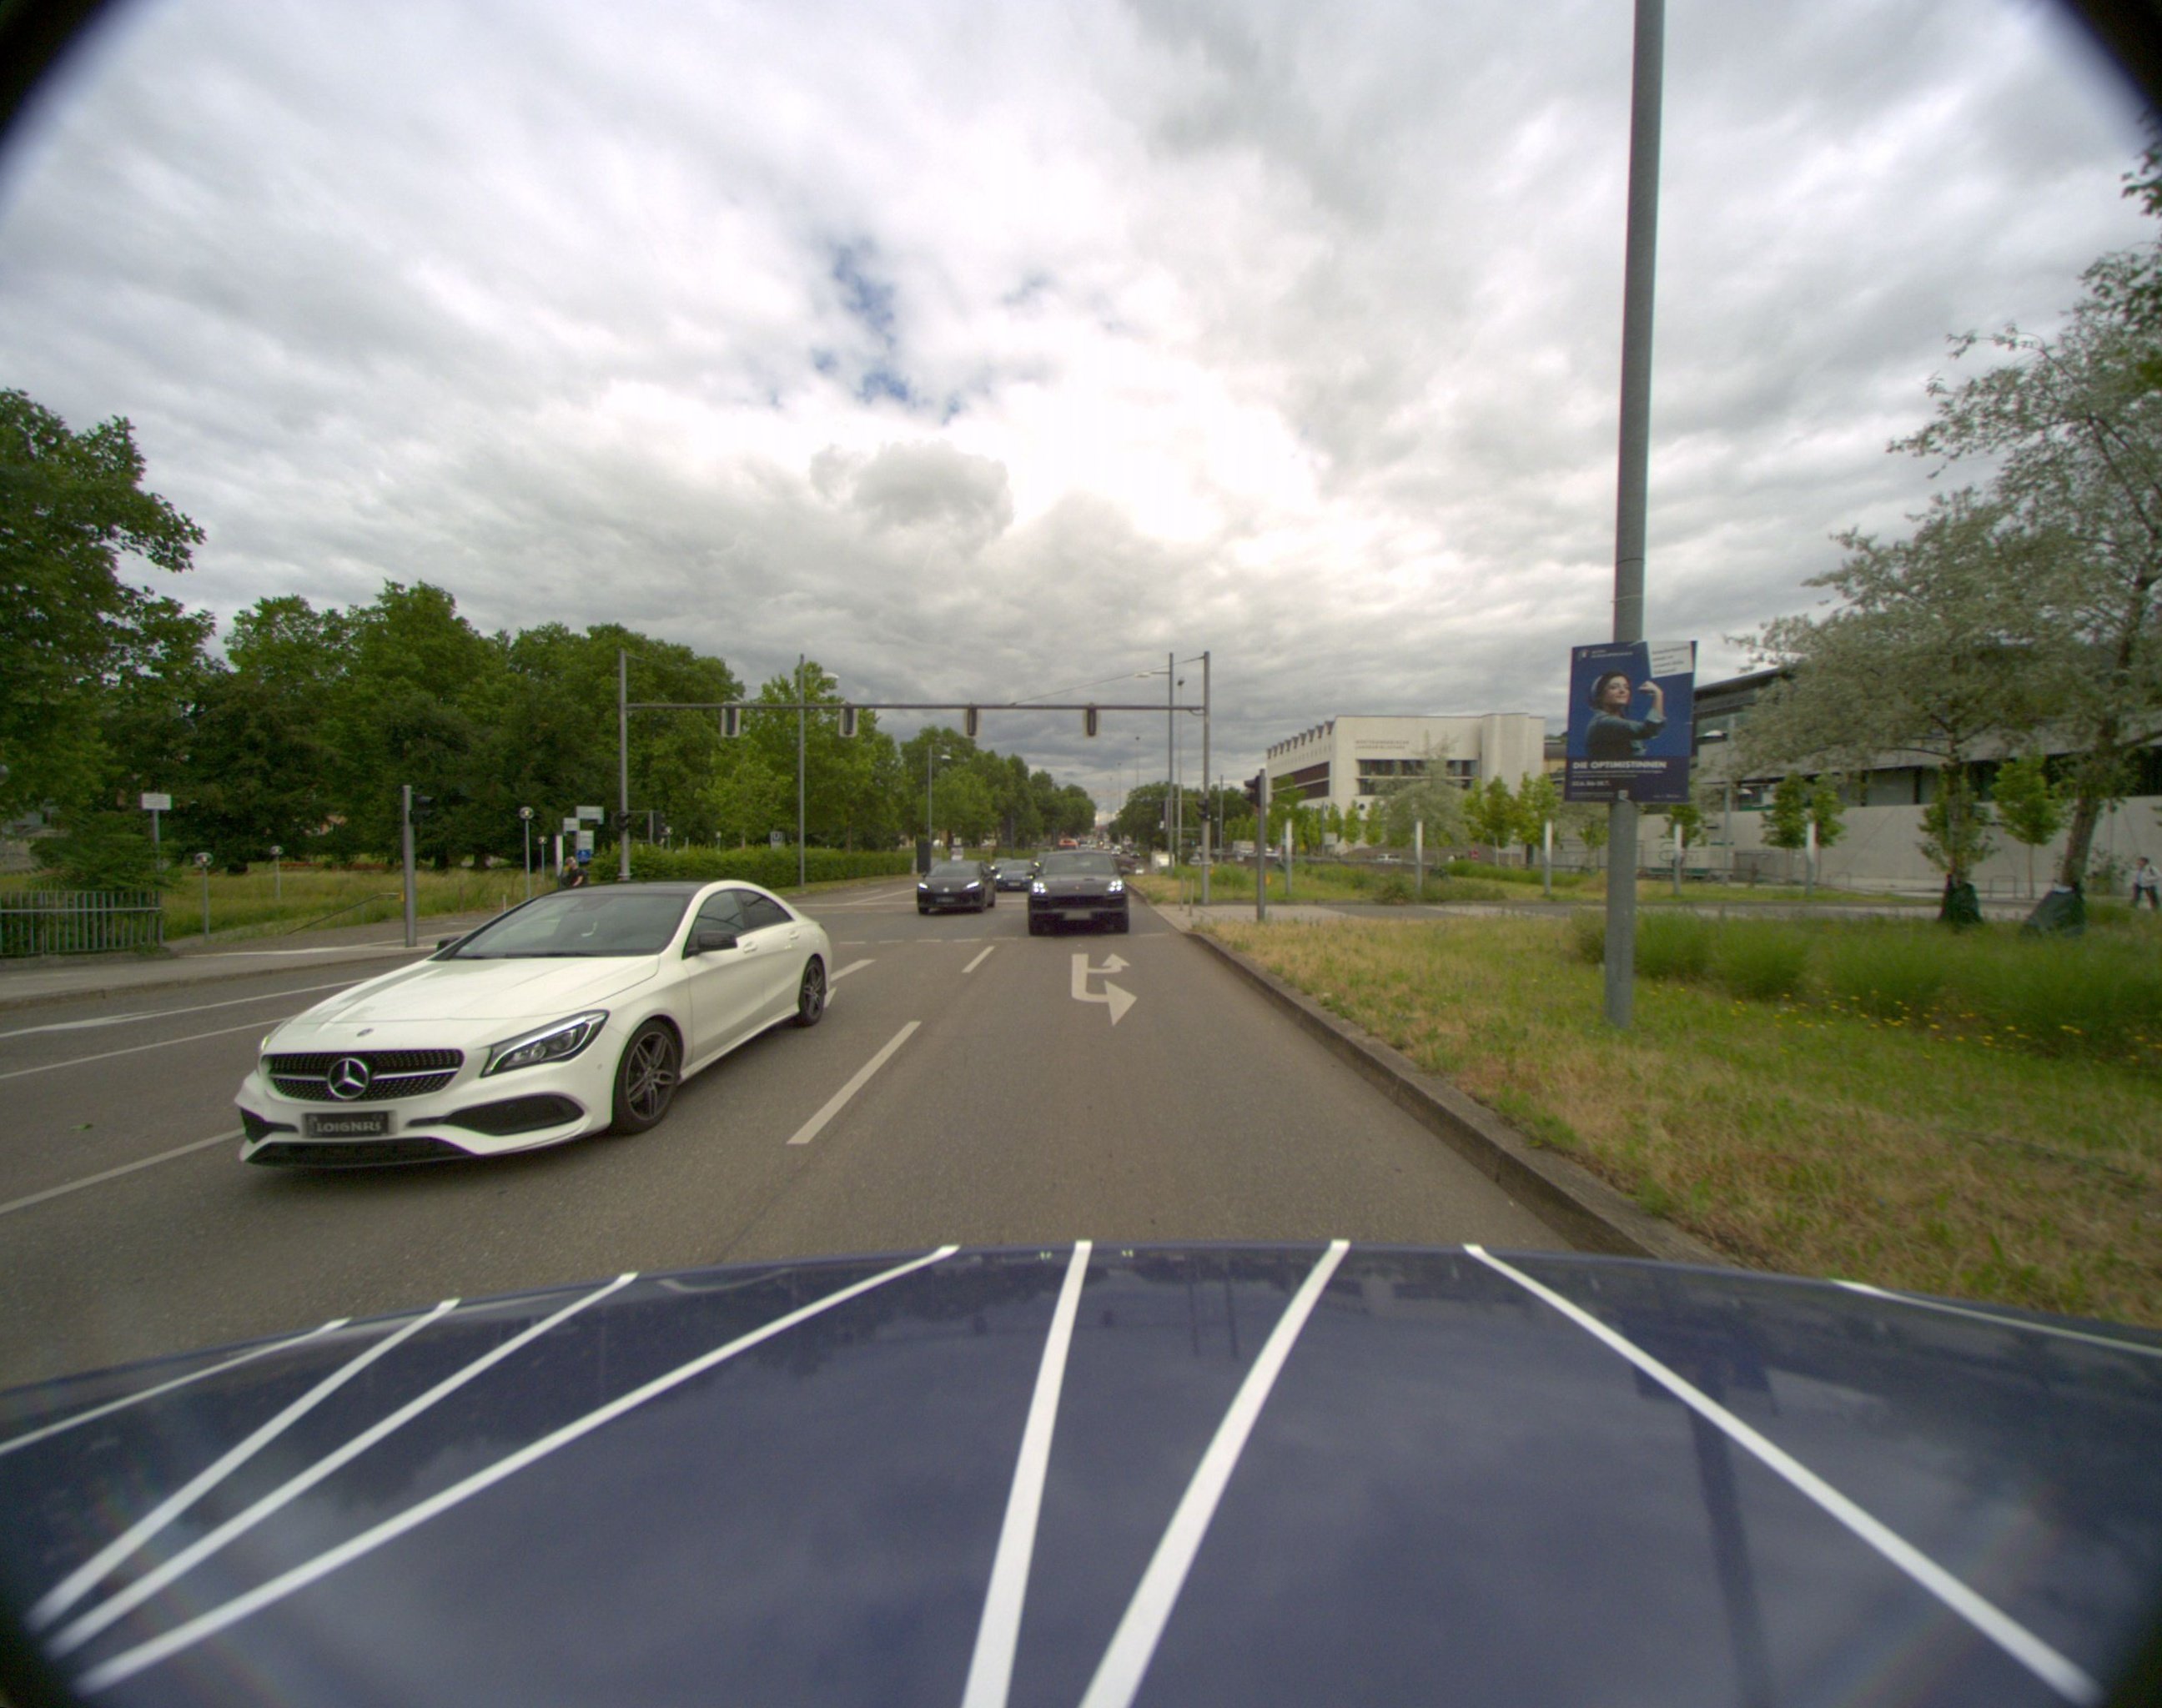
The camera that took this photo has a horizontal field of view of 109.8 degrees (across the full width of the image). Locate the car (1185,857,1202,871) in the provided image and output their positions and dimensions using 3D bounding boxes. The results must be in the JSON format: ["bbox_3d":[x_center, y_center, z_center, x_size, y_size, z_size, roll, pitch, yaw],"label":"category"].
[{"bbox_3d":[17.919,1.585,120.846,1.998,2.002,4.332,3,0,0],"label":"car"}]

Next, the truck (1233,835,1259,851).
[{"bbox_3d":[30.836,-2.033,142.493,3.239,2.771,7.253,-1,0,0],"label":"truck"}]

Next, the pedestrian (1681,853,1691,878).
[{"bbox_3d":[35.919,0.680,45.121,0.318,1.513,0.316,-2,1,-6],"label":"pedestrian"}]

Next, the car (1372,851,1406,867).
[{"bbox_3d":[31.848,0.498,78.643,1.723,1.565,4.613,-1,0,2],"label":"car"}]

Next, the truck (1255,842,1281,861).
[{"bbox_3d":[28.236,-0.371,115.097,2.470,2.800,7.079,-1,0,2],"label":"truck"}]

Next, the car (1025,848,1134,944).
[{"bbox_3d":[0.005,0.754,16.308,1.937,1.668,4.679,-2,1,1],"label":"car"}]

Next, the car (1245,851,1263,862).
[{"bbox_3d":[28.686,0.442,125.931,1.998,1.805,4.258,-1,0,0],"label":"car"}]

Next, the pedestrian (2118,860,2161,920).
[{"bbox_3d":[31.226,1.042,22.343,0.541,1.723,0.663,-1,1,0],"label":"pedestrian"}]

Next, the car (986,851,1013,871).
[{"bbox_3d":[-6.664,0.552,62.475,1.723,1.528,4.001,-1,1,1],"label":"car"}]

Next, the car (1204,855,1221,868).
[{"bbox_3d":[21.641,1.229,125.045,1.998,2.002,4.000,3,0,0],"label":"car"}]

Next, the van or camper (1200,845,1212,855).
[{"bbox_3d":[26.831,-0.860,163.213,1.998,2.002,4.557,-1,0,0],"label":"van or camper"}]

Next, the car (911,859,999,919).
[{"bbox_3d":[-3.554,0.948,22.233,1.830,1.515,4.119,-1,0,0],"label":"car"}]

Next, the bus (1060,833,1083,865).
[{"bbox_3d":[-1.333,-0.719,109.695,3.043,4.327,8.748,-1,1,-1],"label":"bus"}]

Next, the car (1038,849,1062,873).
[{"bbox_3d":[-2.586,0.534,63.771,1.723,1.851,4.430,-1,1,1],"label":"car"}]

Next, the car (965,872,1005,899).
[{"bbox_3d":[-5.968,1.949,47.507,1.867,1.412,4.000,-1,1,1],"label":"car"}]

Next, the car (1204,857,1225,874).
[{"bbox_3d":[17.907,1.517,101.892,1.998,2.002,4.000,3,0,0],"label":"car"}]

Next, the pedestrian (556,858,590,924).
[{"bbox_3d":[-13.770,0.981,20.596,0.479,1.754,0.620,-1,1,-2],"label":"pedestrian"}]

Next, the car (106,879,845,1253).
[{"bbox_3d":[-3.333,1.001,5.561,1.723,1.415,4.505,-1,1,1],"label":"car"}]

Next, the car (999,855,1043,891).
[{"bbox_3d":[-2.754,0.874,35.566,1.573,1.528,4.002,-3,-1,2],"label":"car"}]
